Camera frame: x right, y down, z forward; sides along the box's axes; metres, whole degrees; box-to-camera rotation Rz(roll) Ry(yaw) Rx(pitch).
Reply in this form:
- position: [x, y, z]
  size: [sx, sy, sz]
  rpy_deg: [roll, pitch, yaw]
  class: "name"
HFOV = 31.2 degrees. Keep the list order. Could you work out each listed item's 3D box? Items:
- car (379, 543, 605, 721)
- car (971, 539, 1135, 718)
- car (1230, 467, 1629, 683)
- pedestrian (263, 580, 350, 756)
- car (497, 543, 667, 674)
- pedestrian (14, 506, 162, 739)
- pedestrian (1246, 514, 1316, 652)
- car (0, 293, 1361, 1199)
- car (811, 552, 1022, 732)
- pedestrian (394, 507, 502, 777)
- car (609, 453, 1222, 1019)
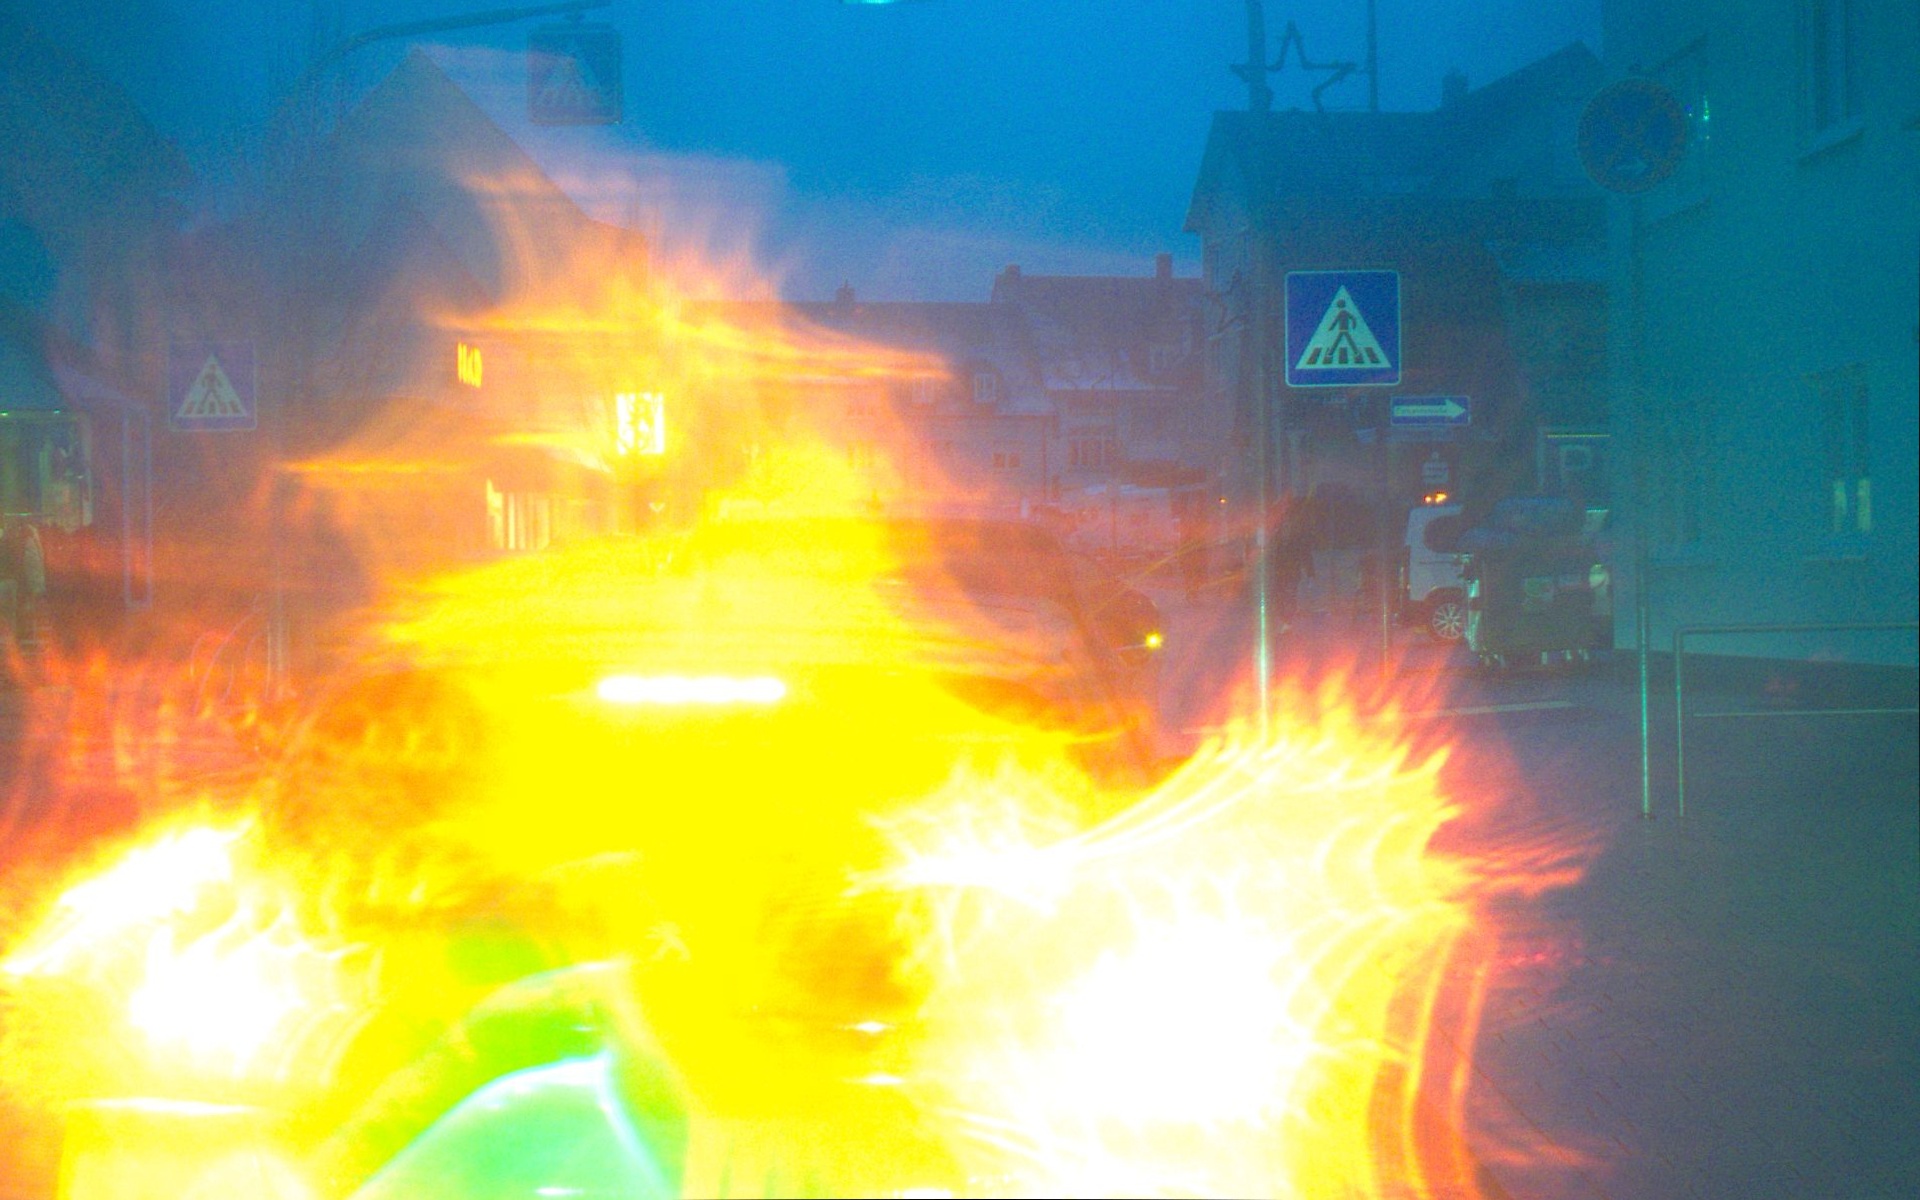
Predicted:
- position: [-5.505, 0.332, 40.963]
  size: [1.993, 2.007, 4.361]
  rpy_deg: [0, 1, 1]
  class: "car"
- position: [1.086, 0.299, 41.903]
  size: [1.641, 2.007, 4.001]
  rpy_deg: [-2, 1, -3]
  class: "car"
- position: [4.506, -0.240, 33.413]
  size: [3.697, 2.007, 1.689]
  rpy_deg: [1, 0, 3]
  class: "car"
- position: [-4.619, 0.478, 24.306]
  size: [0.553, 1.229, 0.434]
  rpy_deg: [0, 1, -4]
  class: "pedestrian"
- position: [-5.233, 0.086, 48.115]
  size: [1.993, 1.746, 4.362]
  rpy_deg: [0, 1, -1]
  class: "car"
- position: [-6.685, 0.162, 26.404]
  size: [0.973, 1.736, 0.962]
  rpy_deg: [1, 2, -7]
  class: "pedestrian"
- position: [4.737, -0.254, 50.783]
  size: [1.016, 2.007, 1.275]
  rpy_deg: [0, 1, 5]
  class: "pedestrian"
- position: [-0.438, 0.486, 6.340]
  size: [1.994, 1.789, 4.648]
  rpy_deg: [0, 2, 2]
  class: "car"
- position: [-0.348, 0.342, 32.840]
  size: [1.827, 1.596, 4.581]
  rpy_deg: [0, 1, 2]
  class: "car"
- position: [-3.615, 0.290, 24.292]
  size: [0.703, 1.870, 0.617]
  rpy_deg: [1, 2, -6]
  class: "pedestrian"
- position: [-0.103, 0.385, 12.145]
  size: [1.798, 1.656, 4.000]
  rpy_deg: [0, 0, 1]
  class: "car"
